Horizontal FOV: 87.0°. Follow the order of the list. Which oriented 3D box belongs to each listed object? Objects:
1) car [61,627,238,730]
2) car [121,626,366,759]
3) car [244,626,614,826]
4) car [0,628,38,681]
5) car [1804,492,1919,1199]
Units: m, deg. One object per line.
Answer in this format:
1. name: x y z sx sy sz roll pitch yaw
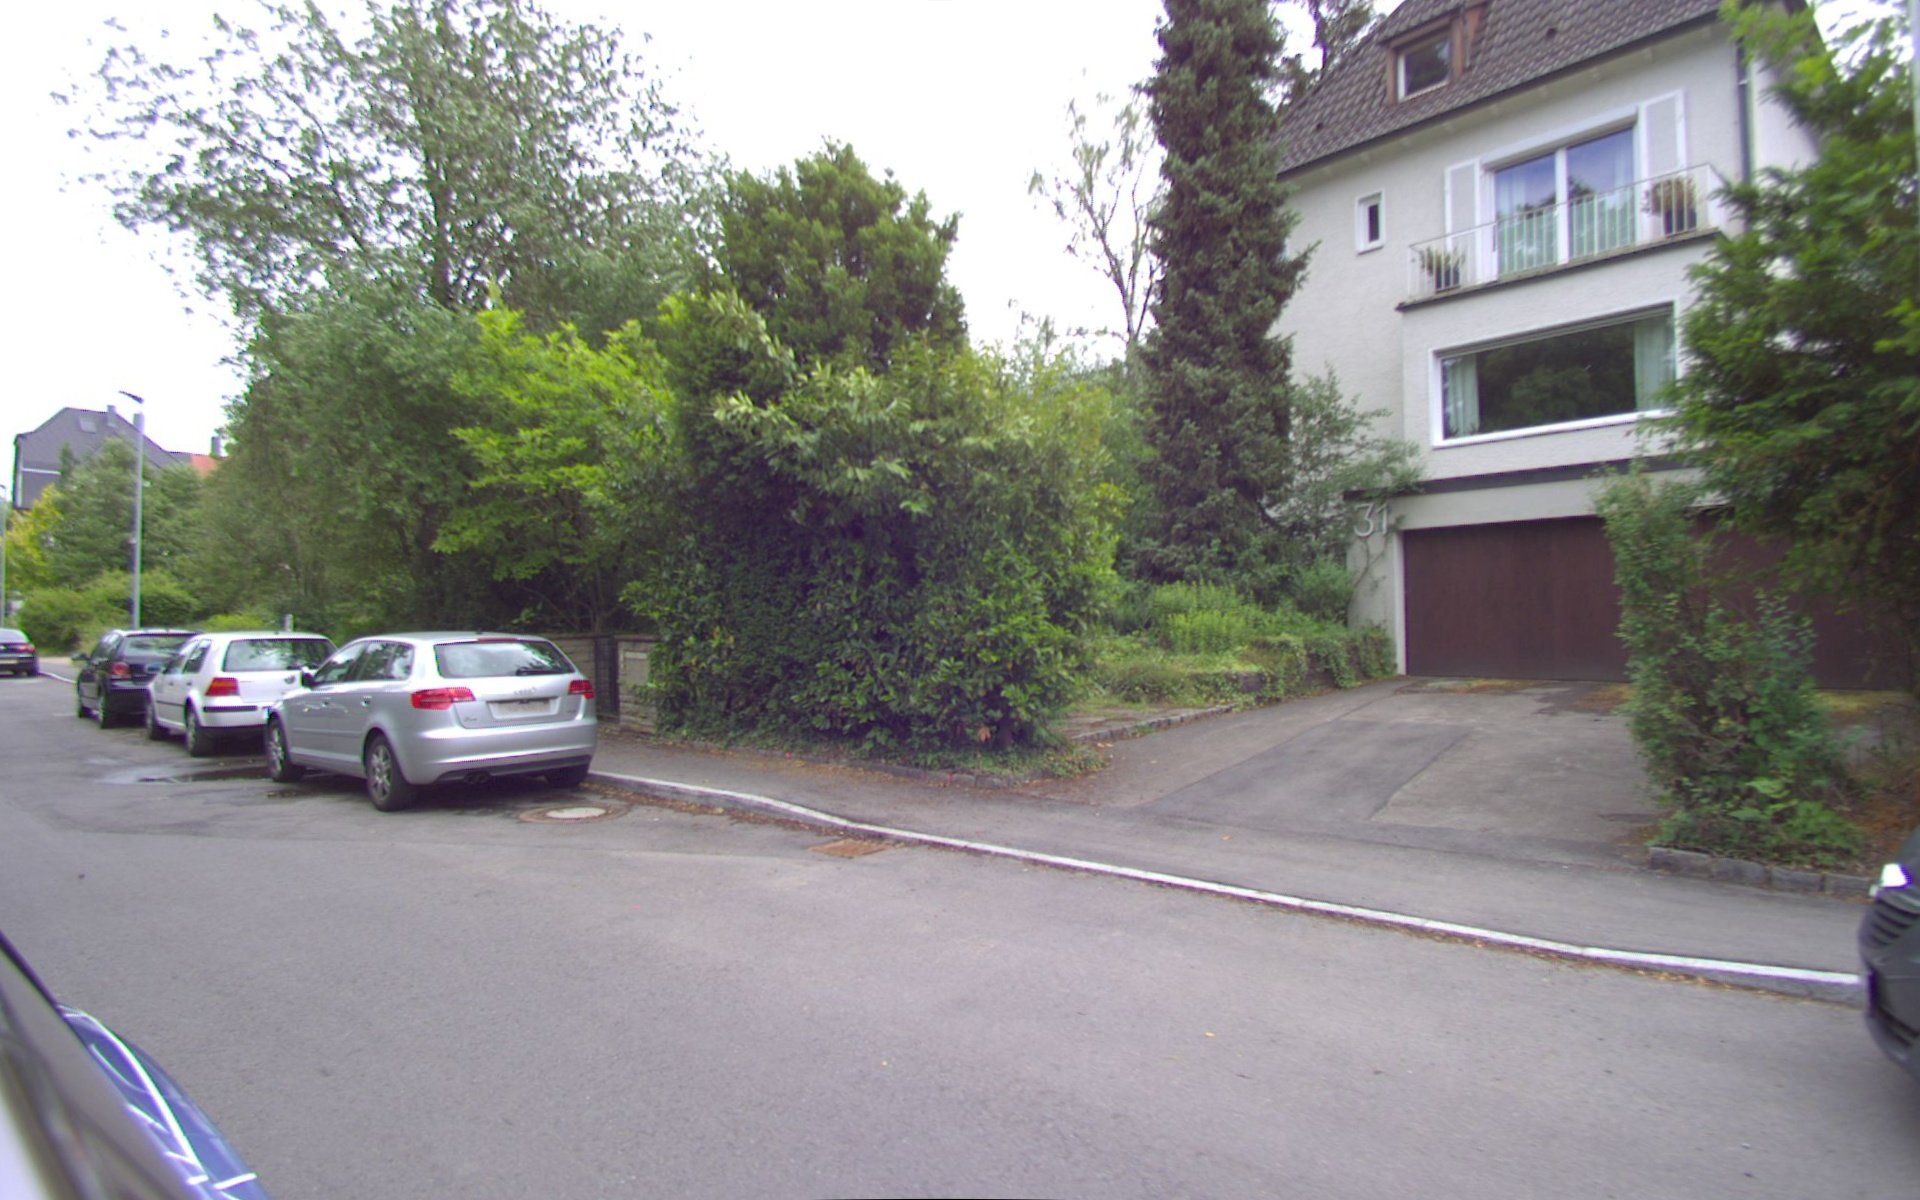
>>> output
1. car: -13.042 1.165 16.208 3.968 1.461 1.605 -2 -2 42
2. car: -9.431 1.087 13.175 4.379 1.464 1.642 -2 -3 42
3. car: -5.043 0.985 9.370 4.090 1.461 1.606 -2 -2 40
4. car: -28.394 1.561 29.342 5.100 1.443 1.760 -2 -2 40
5. car: 4.298 0.528 1.552 4.565 1.644 1.713 -2 -1 40
